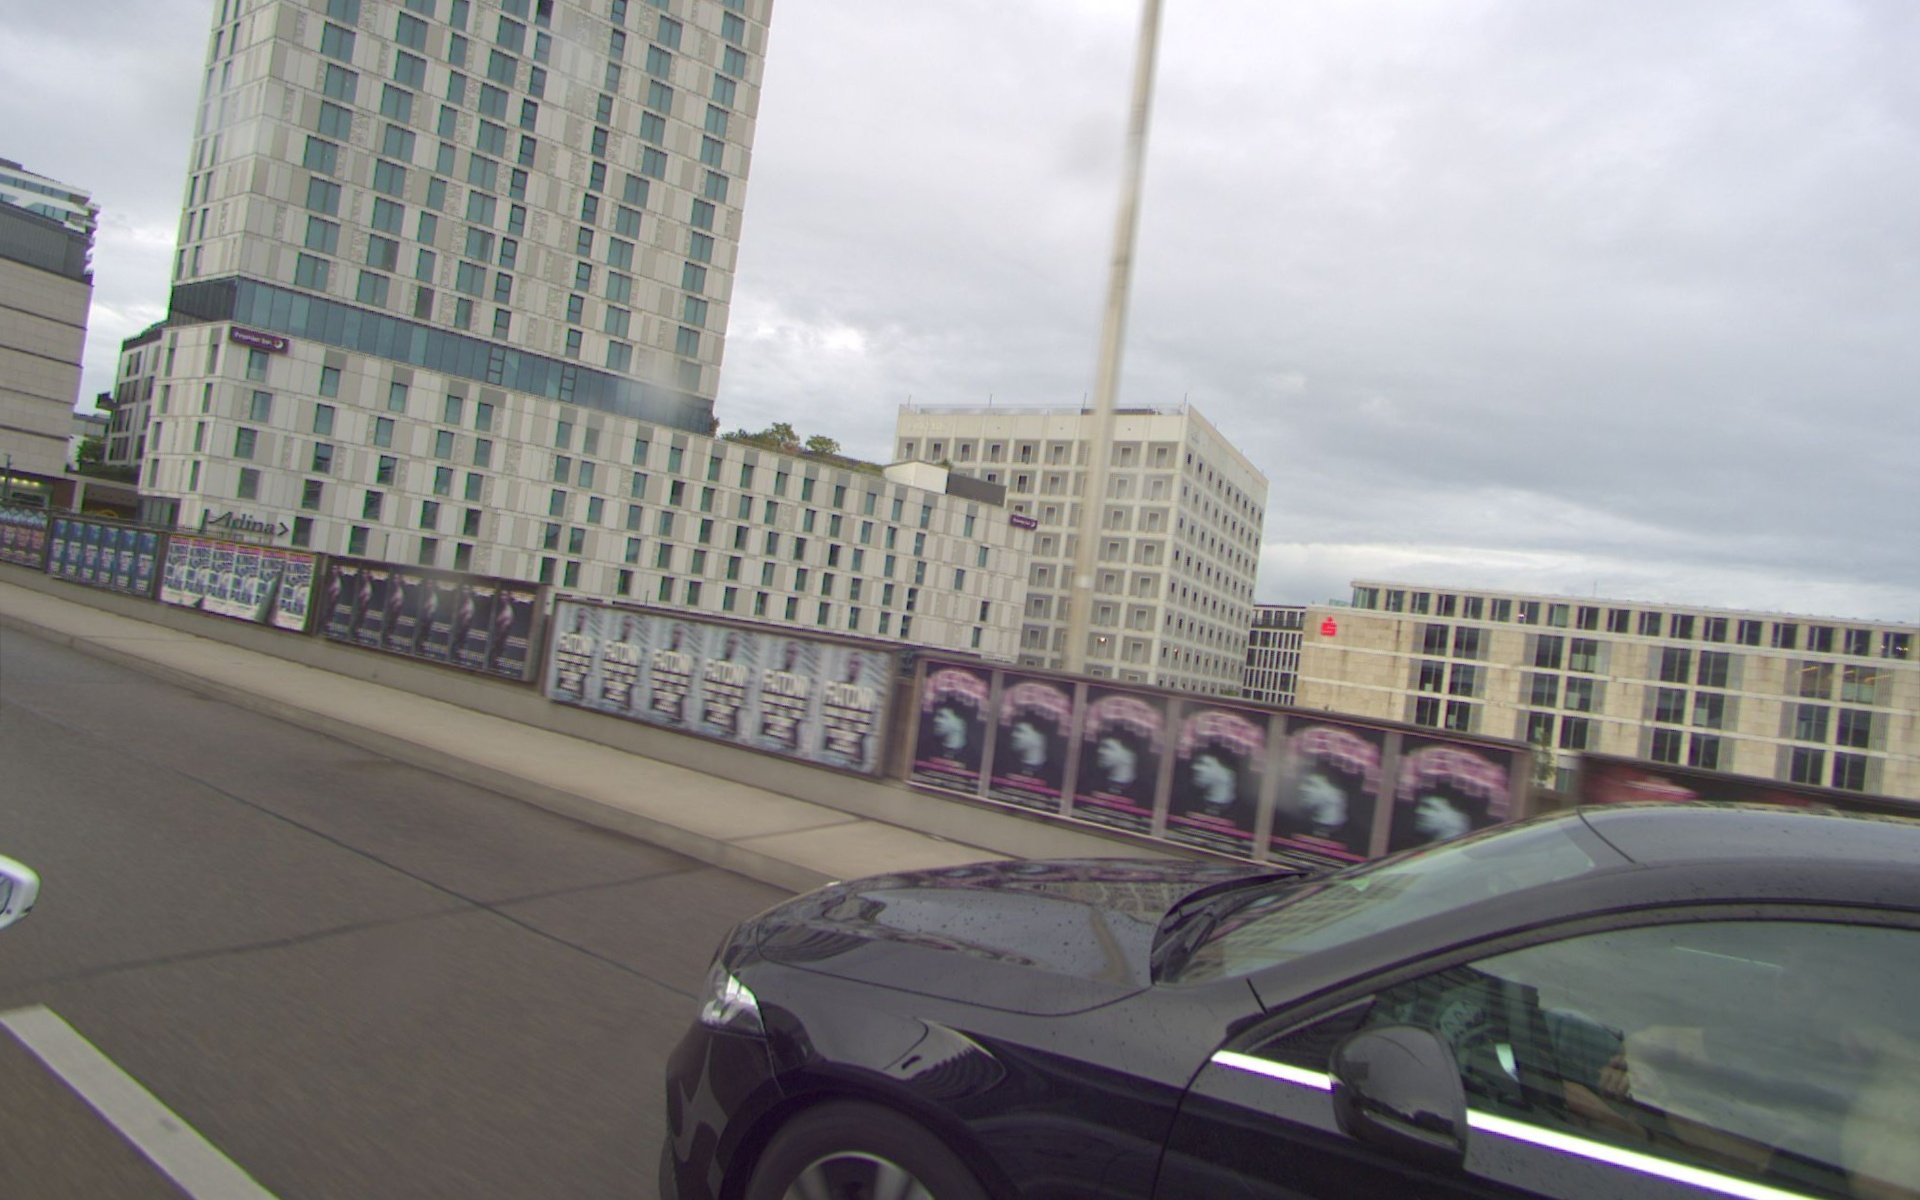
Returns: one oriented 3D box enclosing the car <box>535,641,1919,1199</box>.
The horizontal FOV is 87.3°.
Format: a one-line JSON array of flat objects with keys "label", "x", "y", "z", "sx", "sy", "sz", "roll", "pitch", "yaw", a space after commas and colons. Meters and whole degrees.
[{"label": "car", "x": 1.344, "y": 1.028, "z": 1.824, "sx": 4.085, "sy": 1.392, "sz": 1.727, "roll": 5, "pitch": -2, "yaw": 30}]
